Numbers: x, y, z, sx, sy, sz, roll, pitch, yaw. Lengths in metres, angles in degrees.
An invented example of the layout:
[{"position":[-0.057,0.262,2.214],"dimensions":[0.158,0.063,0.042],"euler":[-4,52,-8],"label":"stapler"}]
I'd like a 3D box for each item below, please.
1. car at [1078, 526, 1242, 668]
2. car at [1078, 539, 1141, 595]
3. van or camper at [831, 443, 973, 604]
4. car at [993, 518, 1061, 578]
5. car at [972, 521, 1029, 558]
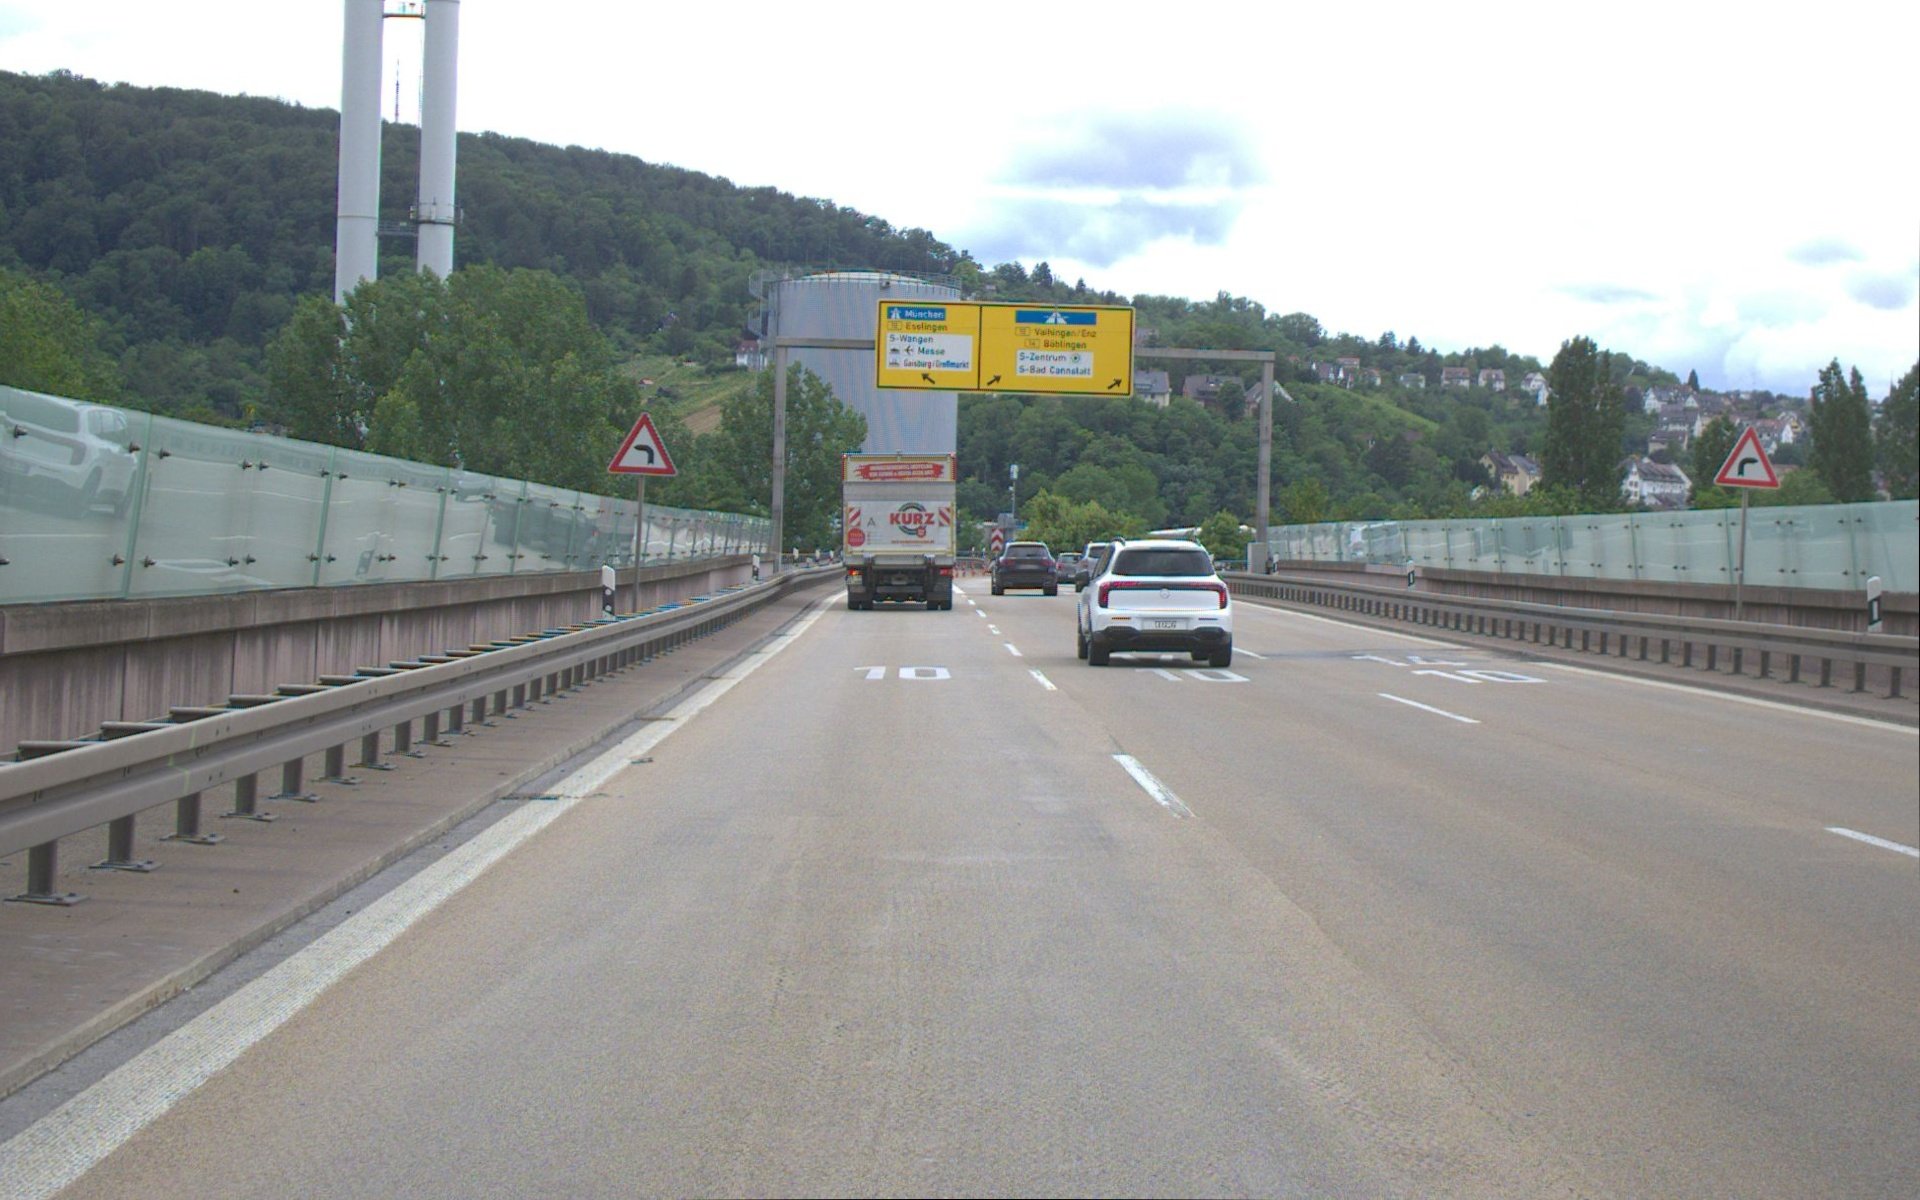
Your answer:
[{"position":[2.629,-0.088,46.065],"dimensions":[1.924,1.779,4.113],"euler":[1,1,0],"label":"car"},{"position":[5.001,-1.117,115.294],"dimensions":[1.924,1.779,4.113],"euler":[1,1,0],"label":"car"},{"position":[-1.273,-1.769,80.792],"dimensions":[3.122,3.567,8.550],"euler":[1,1,0],"label":"van or camper"},{"position":[2.010,-1.596,104.253],"dimensions":[1.924,1.779,4.113],"euler":[1,1,0],"label":"car"},{"position":[2.235,-3.344,188.832],"dimensions":[2.474,1.973,5.158],"euler":[1,1,8],"label":"car"}]
